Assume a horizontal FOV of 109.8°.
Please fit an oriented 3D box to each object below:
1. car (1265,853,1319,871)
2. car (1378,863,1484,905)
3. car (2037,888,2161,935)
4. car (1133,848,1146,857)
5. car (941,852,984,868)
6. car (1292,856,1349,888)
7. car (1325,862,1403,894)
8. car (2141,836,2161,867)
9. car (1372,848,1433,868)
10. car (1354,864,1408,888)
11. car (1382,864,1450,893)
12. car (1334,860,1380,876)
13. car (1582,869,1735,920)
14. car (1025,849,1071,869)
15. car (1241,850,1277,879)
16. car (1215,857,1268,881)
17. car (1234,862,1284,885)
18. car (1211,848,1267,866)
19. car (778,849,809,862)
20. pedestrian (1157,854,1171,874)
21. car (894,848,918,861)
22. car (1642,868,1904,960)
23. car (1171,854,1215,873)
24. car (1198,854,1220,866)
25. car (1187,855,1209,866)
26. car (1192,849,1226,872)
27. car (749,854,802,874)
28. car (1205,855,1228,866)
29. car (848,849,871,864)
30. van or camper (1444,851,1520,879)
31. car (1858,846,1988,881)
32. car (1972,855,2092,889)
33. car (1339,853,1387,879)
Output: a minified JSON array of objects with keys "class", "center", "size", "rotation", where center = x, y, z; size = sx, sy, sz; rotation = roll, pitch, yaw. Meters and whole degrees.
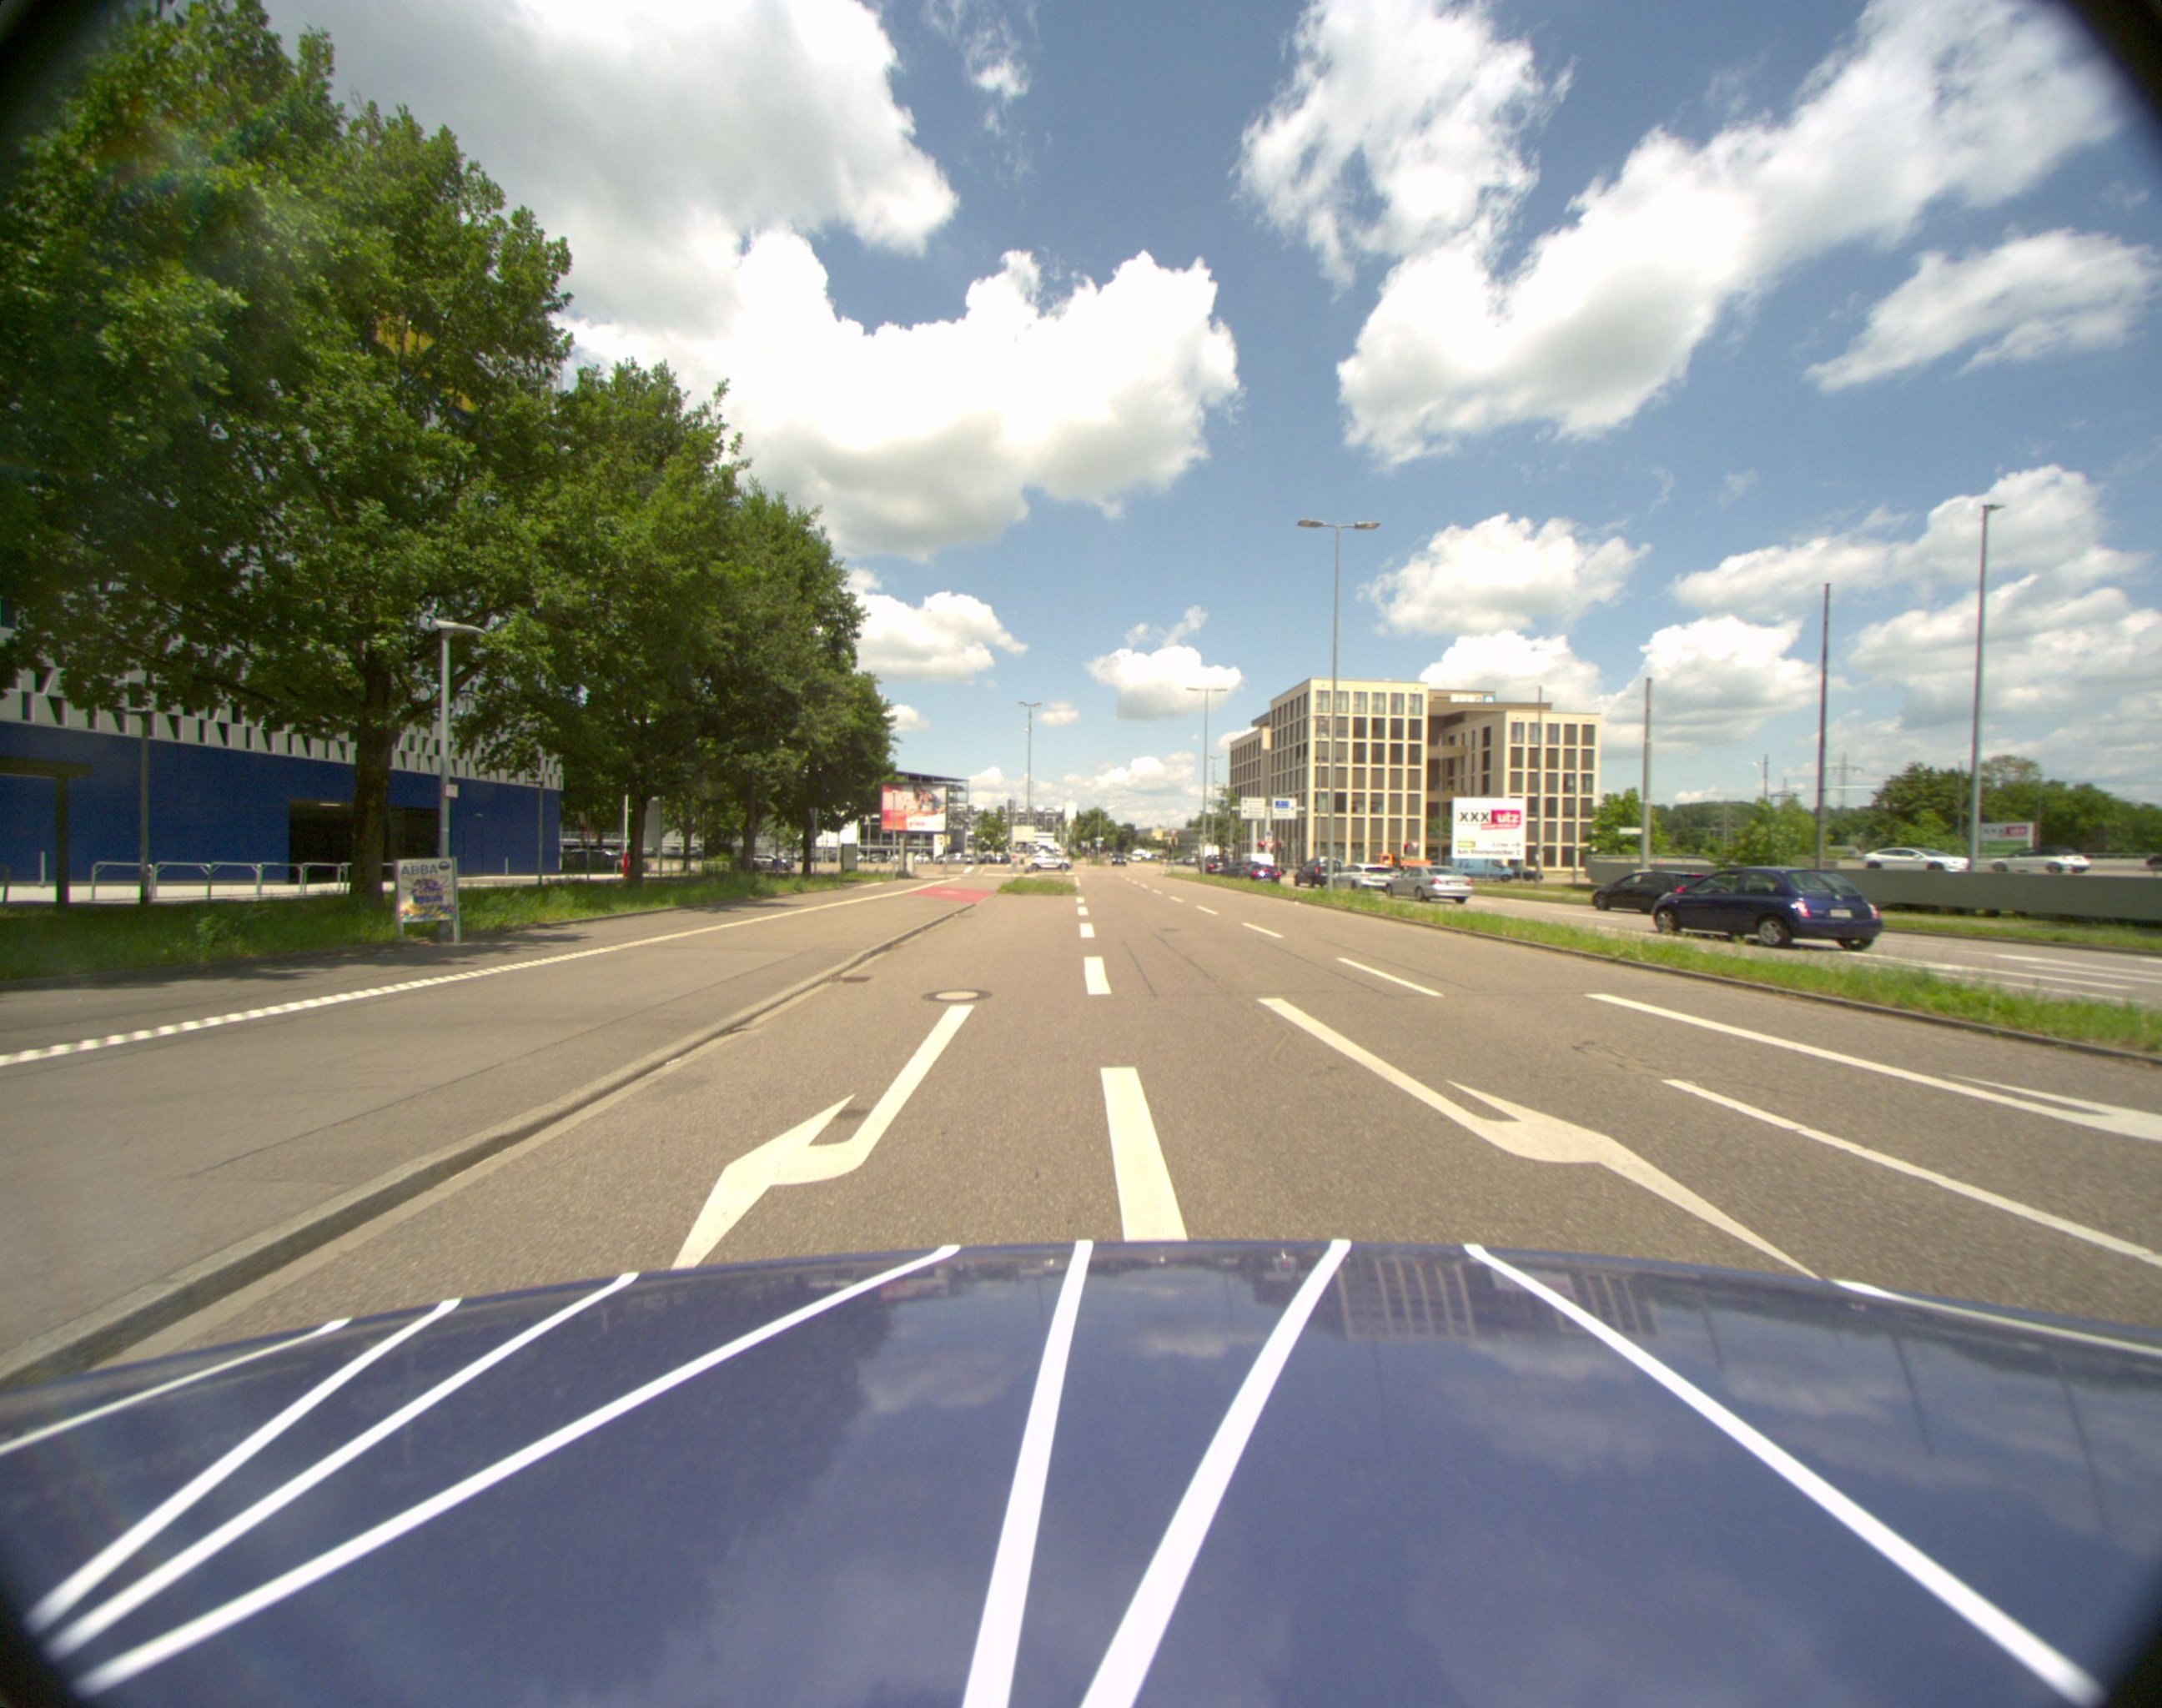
[{"class":"car","center":[20.738,0.776,74.638],"size":[4.754,1.718,1.862],"rotation":[0,1,-5]},{"class":"car","center":[13.396,1.098,29.436],"size":[1.796,1.409,4.674],"rotation":[2,0,-1]},{"class":"car","center":[39.036,2.148,28.457],"size":[3.997,1.586,1.918],"rotation":[1,0,0]},{"class":"car","center":[11.999,-0.273,156.613],"size":[2.290,1.708,4.482],"rotation":[1,1,0]},{"class":"car","center":[-13.270,0.663,84.985],"size":[4.701,1.622,1.998],"rotation":[1,0,-9]},{"class":"car","center":[13.537,0.986,43.148],"size":[1.796,1.691,4.227],"rotation":[1,-1,-1]},{"class":"car","center":[13.330,1.089,36.097],"size":[1.796,1.393,4.845],"rotation":[2,-1,-1]},{"class":"car","center":[64.365,-0.143,43.545],"size":[1.855,1.822,3.832],"rotation":[1,0,-2]},{"class":"car","center":[40.407,0.537,95.673],"size":[6.531,2.314,2.854],"rotation":[2,-2,-2]},{"class":"car","center":[18.729,1.353,47.698],"size":[1.623,1.383,4.584],"rotation":[1,-1,1]},{"class":"car","center":[18.293,1.307,41.685],"size":[1.624,1.464,4.358],"rotation":[1,-1,-3]},{"class":"car","center":[30.671,1.551,84.436],"size":[4.311,1.622,1.999],"rotation":[1,0,-6]},{"class":"car","center":[18.756,1.265,24.929],"size":[1.624,1.461,4.114],"rotation":[1,0,-5]},{"class":"car","center":[-3.088,0.461,70.182],"size":[4.190,1.718,1.862],"rotation":[0,3,-5]},{"class":"car","center":[13.242,0.785,56.753],"size":[1.862,2.031,3.576],"rotation":[1,0,0]},{"class":"car","center":[10.887,1.008,51.682],"size":[1.799,1.551,3.763],"rotation":[2,-1,-20]},{"class":"car","center":[10.390,1.127,44.627],"size":[1.796,1.243,4.307],"rotation":[1,-1,-1]},{"class":"car","center":[14.755,0.283,71.159],"size":[4.820,1.571,1.999],"rotation":[0,1,-4]},{"class":"car","center":[-35.089,0.201,92.796],"size":[1.795,1.543,4.003],"rotation":[1,0,8]},{"class":"pedestrian","center":[6.985,0.815,64.021],"size":[0.840,1.642,0.970],"rotation":[1,1,-17]},{"class":"car","center":[-21.685,0.109,94.242],"size":[1.840,1.564,4.001],"rotation":[1,0,4]},{"class":"car","center":[13.487,1.087,15.152],"size":[1.744,1.466,3.675],"rotation":[1,1,-2]},{"class":"car","center":[10.419,0.870,70.919],"size":[3.758,1.718,1.672],"rotation":[0,3,-5]},{"class":"car","center":[20.339,0.926,120.677],"size":[1.857,1.718,4.191],"rotation":[2,1,35]},{"class":"car","center":[18.881,1.042,122.760],"size":[1.857,1.718,4.191],"rotation":[2,1,35]},{"class":"car","center":[9.513,0.495,56.767],"size":[1.796,1.635,4.171],"rotation":[1,-1,0]},{"class":"car","center":[-26.842,0.853,66.921],"size":[4.000,1.681,1.857],"rotation":[1,0,-9]},{"class":"car","center":[20.842,0.972,116.839],"size":[1.857,1.718,4.191],"rotation":[2,1,35]},{"class":"car","center":[-27.206,0.311,93.520],"size":[1.862,1.718,3.758],"rotation":[0,0,-2]},{"class":"van or camper","center":[36.921,1.003,70.111],"size":[5.844,2.367,2.001],"rotation":[1,0,5]},{"class":"car","center":[46.789,0.498,42.390],"size":[1.855,1.822,4.672],"rotation":[1,0,-4]},{"class":"car","center":[54.259,0.986,43.463],"size":[1.856,1.822,3.831],"rotation":[1,0,-6]},{"class":"car","center":[19.571,0.809,52.919],"size":[1.796,1.691,3.870],"rotation":[1,-1,-1]}]
